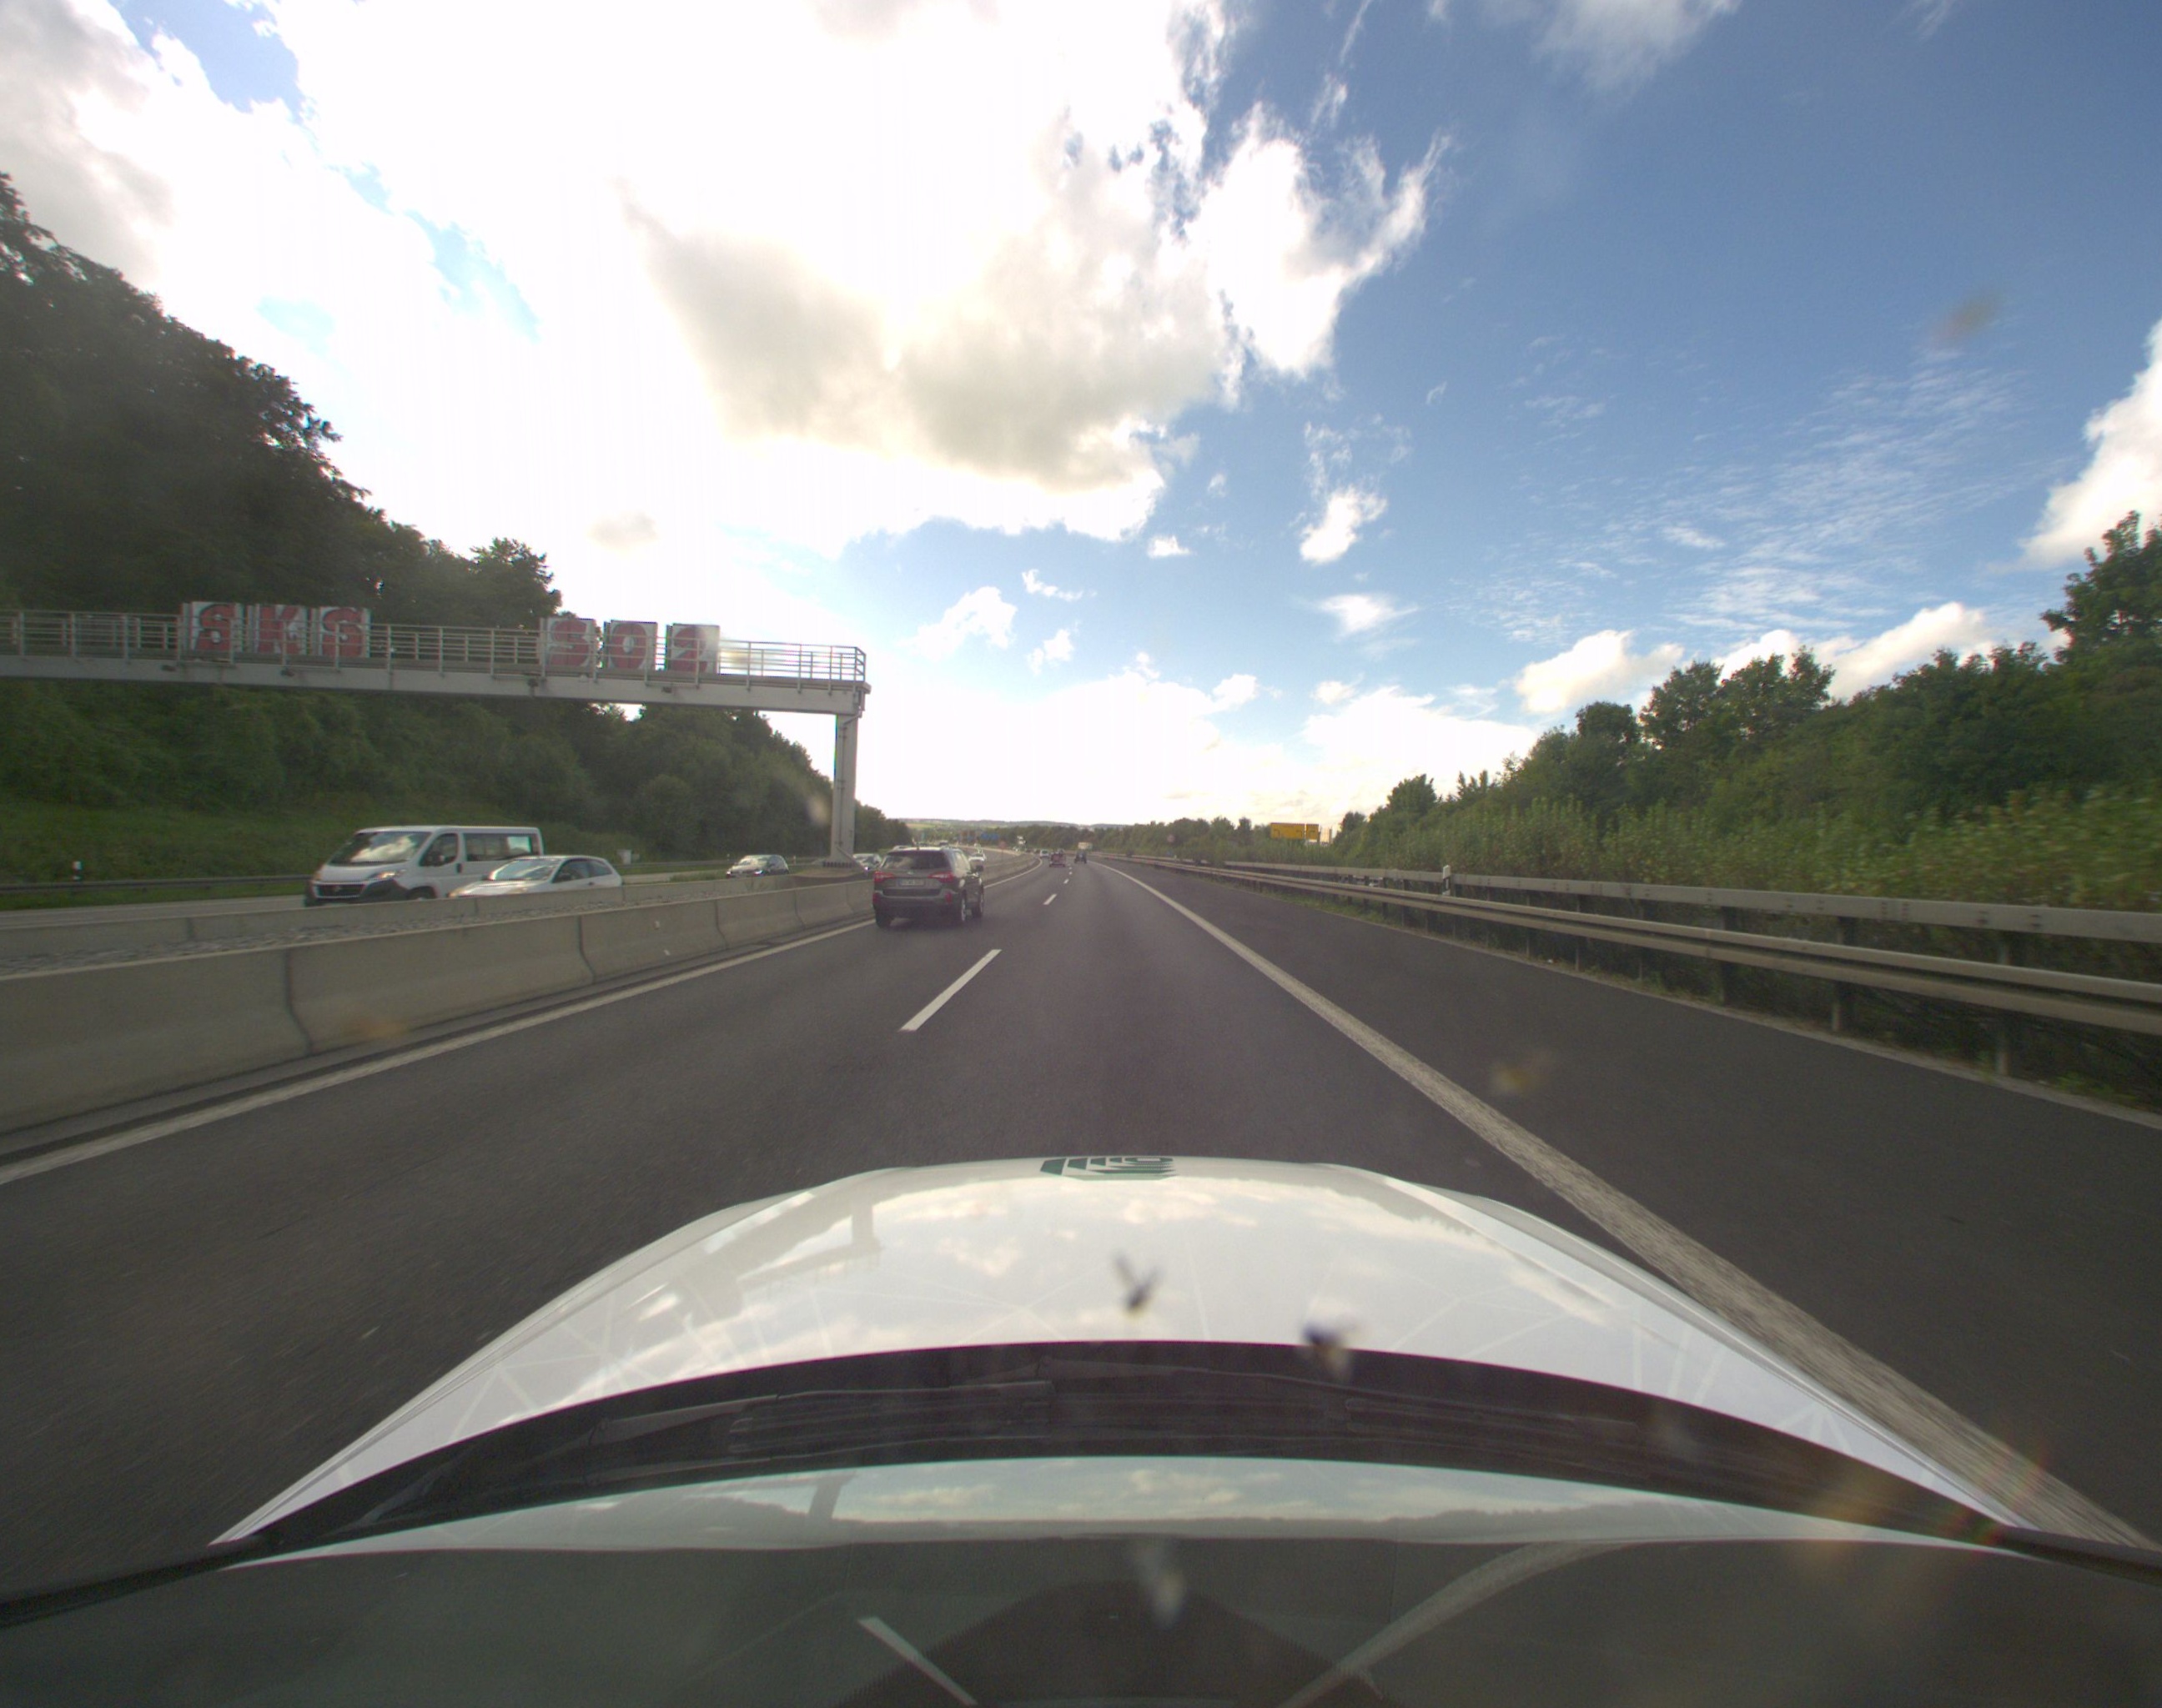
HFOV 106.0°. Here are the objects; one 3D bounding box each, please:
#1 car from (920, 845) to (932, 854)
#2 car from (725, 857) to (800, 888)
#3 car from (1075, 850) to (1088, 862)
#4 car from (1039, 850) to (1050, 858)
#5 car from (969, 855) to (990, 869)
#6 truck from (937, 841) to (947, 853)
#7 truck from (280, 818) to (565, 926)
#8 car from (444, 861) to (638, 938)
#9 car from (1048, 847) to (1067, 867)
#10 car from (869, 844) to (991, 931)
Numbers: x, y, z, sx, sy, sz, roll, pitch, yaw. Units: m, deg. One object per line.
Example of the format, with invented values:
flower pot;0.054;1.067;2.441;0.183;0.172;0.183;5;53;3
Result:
car;-35.736;-0.997;187.483;1.988;2.013;3.997;0;0;-2
car;-15.270;0.850;39.287;1.659;1.395;4.603;0;0;2
car;0.069;0.292;111.522;1.583;1.597;4.091;0;0;-3
car;-7.538;-0.014;169.302;1.991;1.684;3.990;0;-1;-7
car;-11.674;0.928;94.158;1.758;1.581;4.932;0;0;0
truck;-43.342;-2.169;253.776;2.810;3.826;7.103;0;0;-11
truck;-15.373;0.381;19.610;2.175;2.226;5.574;0;0;2
car;-11.595;0.910;17.837;1.559;1.450;3.890;0;0;2
car;-2.533;0.325;89.193;2.024;2.151;4.000;0;1;0
car;-3.323;0.677;18.967;1.811;1.736;5.187;0;0;1
